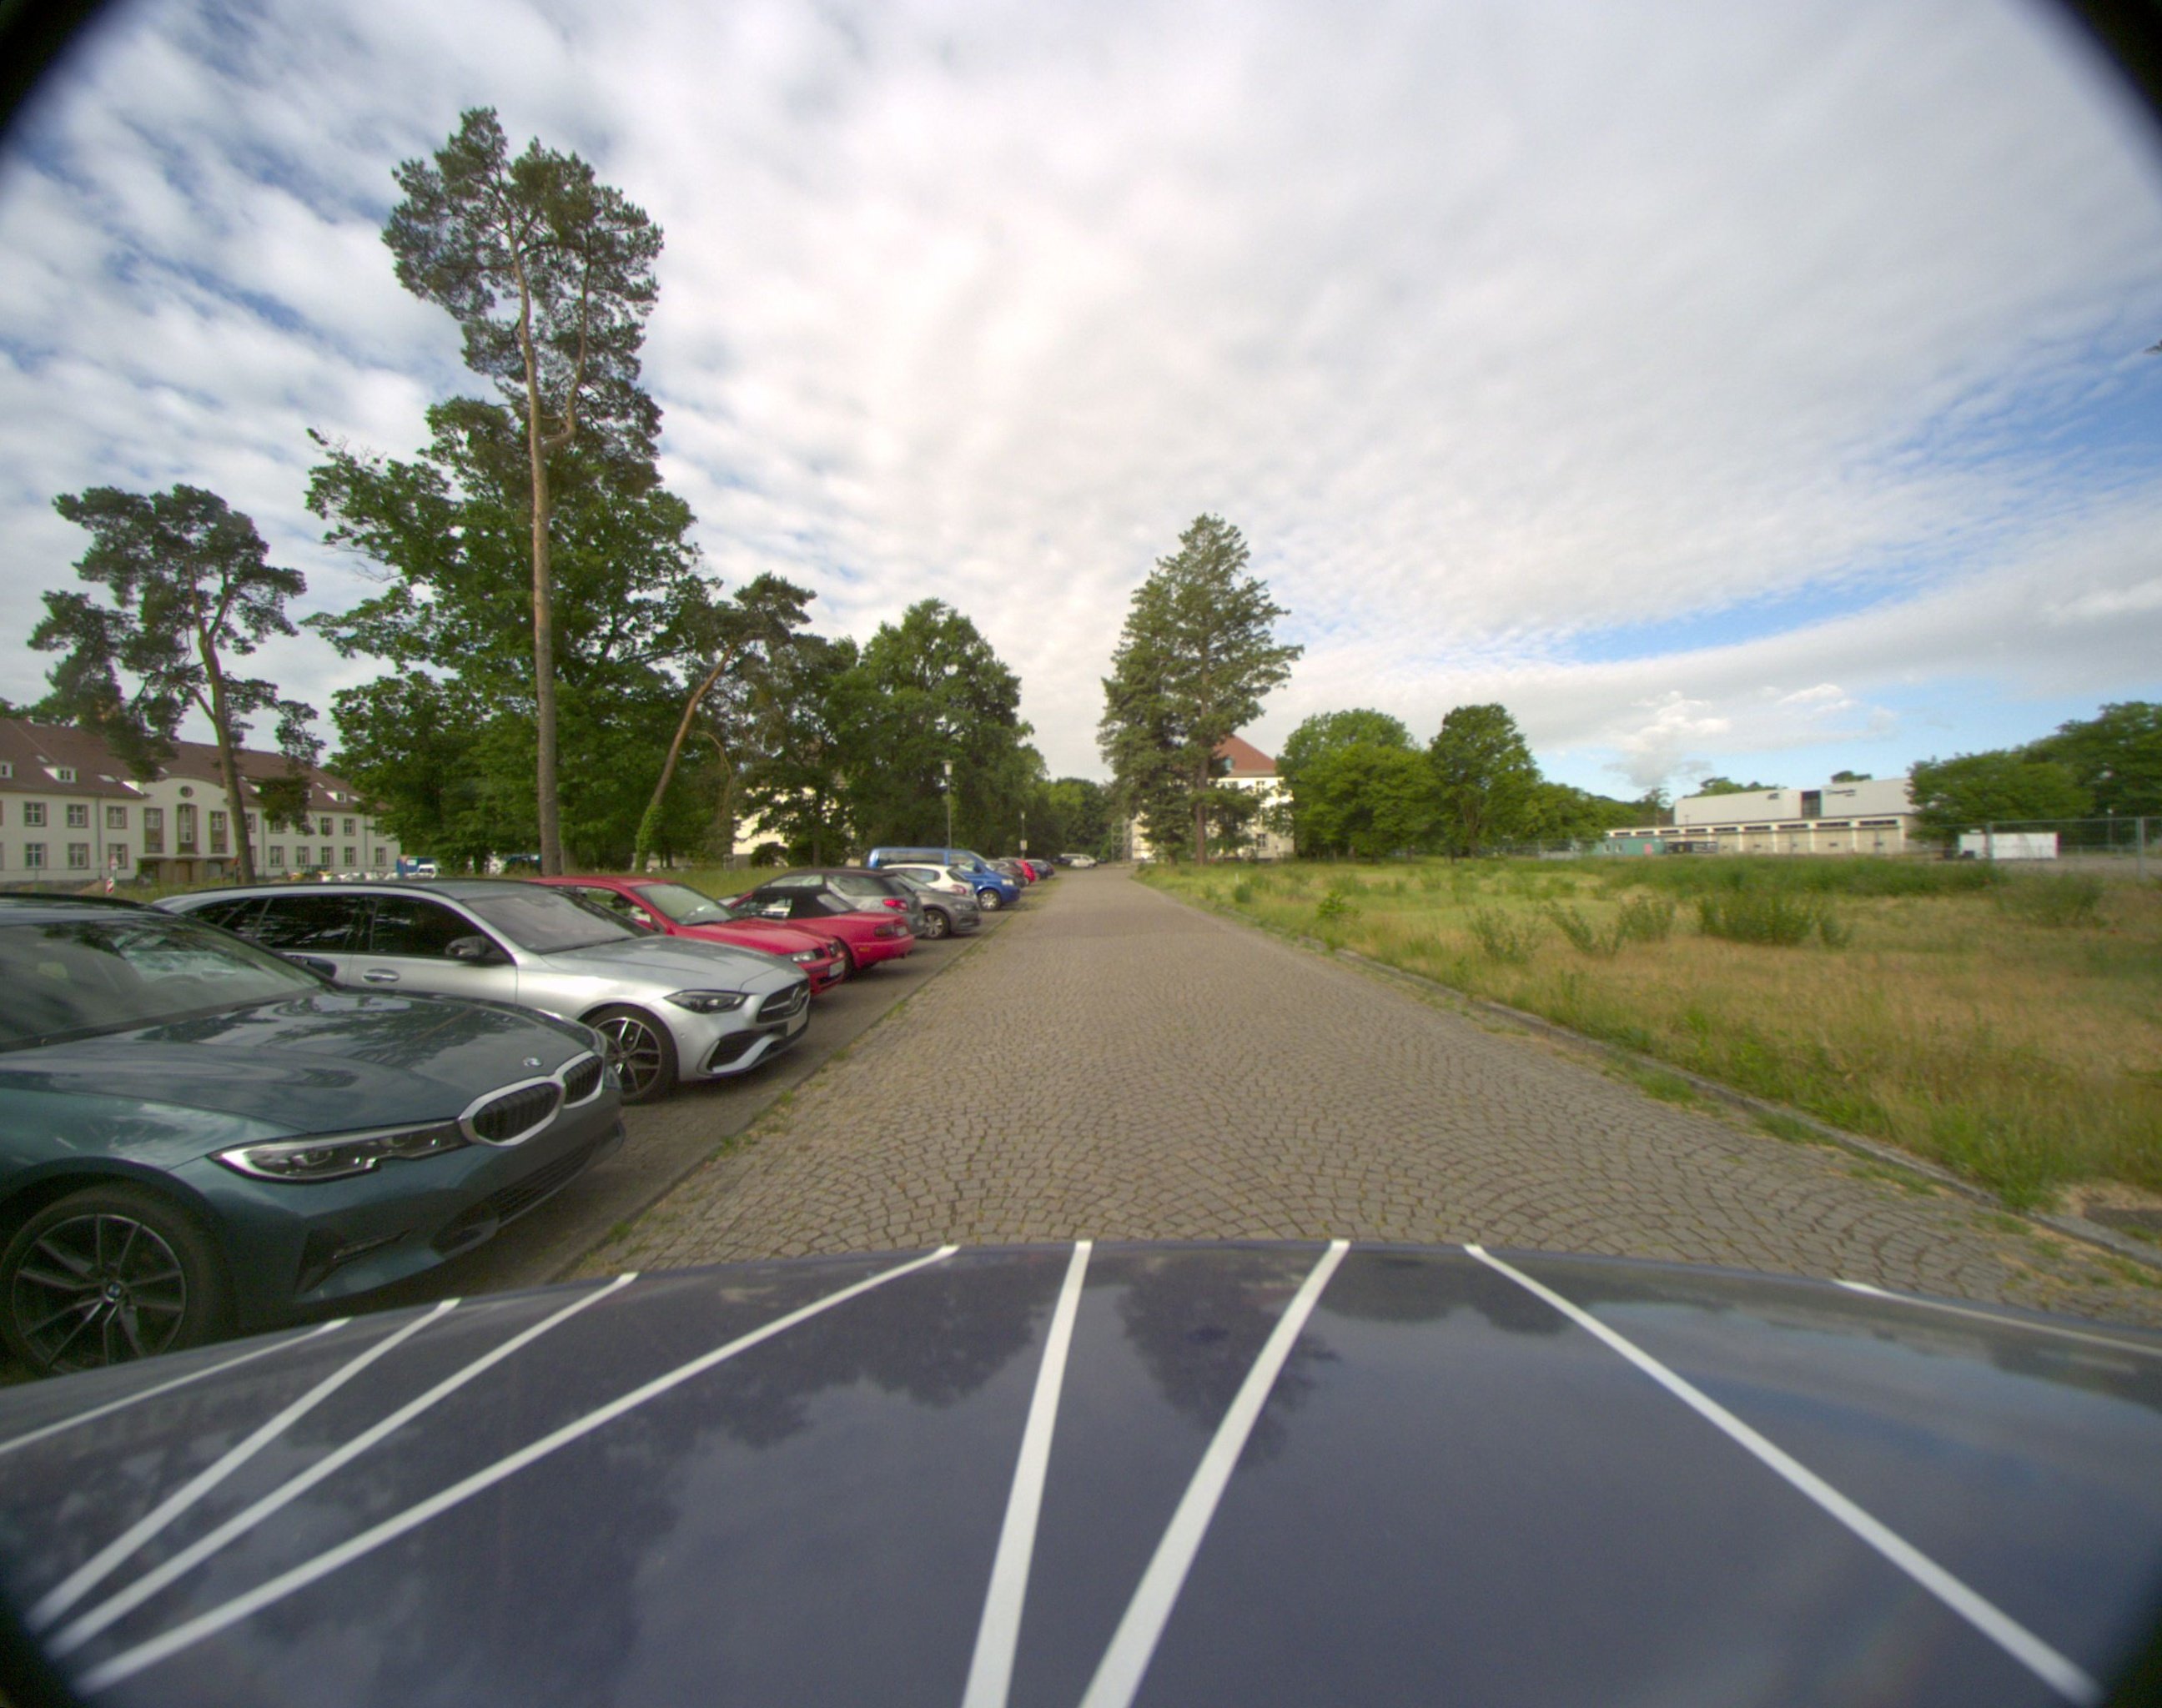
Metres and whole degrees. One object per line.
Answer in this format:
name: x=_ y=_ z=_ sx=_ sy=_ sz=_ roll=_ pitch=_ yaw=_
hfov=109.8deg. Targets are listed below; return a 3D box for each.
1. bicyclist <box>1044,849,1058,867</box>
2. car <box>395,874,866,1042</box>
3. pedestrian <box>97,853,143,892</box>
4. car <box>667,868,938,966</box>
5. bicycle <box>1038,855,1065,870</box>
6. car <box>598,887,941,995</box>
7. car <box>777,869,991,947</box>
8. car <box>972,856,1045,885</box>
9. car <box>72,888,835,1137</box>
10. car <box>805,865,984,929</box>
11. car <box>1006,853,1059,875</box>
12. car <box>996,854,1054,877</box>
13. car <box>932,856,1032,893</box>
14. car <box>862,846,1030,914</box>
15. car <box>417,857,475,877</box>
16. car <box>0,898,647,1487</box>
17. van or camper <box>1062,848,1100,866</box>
bicyclist: x=-3.121 y=0.408 z=79.373 sx=1.318 sy=1.857 sz=1.250 roll=-1 pitch=1 yaw=6
car: x=-4.531 y=1.019 z=8.062 sx=3.932 sy=1.504 sz=1.797 roll=-1 pitch=0 yaw=3
pedestrian: x=-54.346 y=1.015 z=42.966 sx=1.184 sy=2.165 sz=1.056 roll=-1 pitch=1 yaw=1
car: x=-4.601 y=1.026 z=12.987 sx=3.932 sy=1.467 sz=1.797 roll=-1 pitch=0 yaw=2
bicycle: x=-3.037 y=0.901 z=79.360 sx=2.673 sy=1.496 sz=1.273 roll=-1 pitch=0 yaw=6
car: x=-4.089 y=1.133 z=10.430 sx=3.932 sy=1.227 sz=1.797 roll=-1 pitch=0 yaw=2
car: x=-3.961 y=1.070 z=15.739 sx=3.932 sy=1.427 sz=1.797 roll=-1 pitch=0 yaw=1
car: x=-4.060 y=0.904 z=43.253 sx=3.998 sy=1.560 sz=1.999 roll=-1 pitch=0 yaw=-2
car: x=-4.283 y=1.043 z=5.666 sx=4.266 sy=1.437 sz=1.797 roll=-1 pitch=0 yaw=3
car: x=-4.511 y=1.023 z=18.783 sx=3.932 sy=1.441 sz=1.797 roll=-1 pitch=0 yaw=1
car: x=-3.668 y=0.754 z=58.041 sx=3.790 sy=1.615 sz=2.000 roll=-1 pitch=0 yaw=2
car: x=-3.909 y=0.786 z=53.563 sx=3.790 sy=1.560 sz=2.000 roll=-1 pitch=0 yaw=2
car: x=-4.238 y=0.885 z=32.959 sx=3.996 sy=1.495 sz=1.869 roll=-1 pitch=0 yaw=3
car: x=-4.171 y=0.802 z=24.024 sx=4.839 sy=2.002 sz=2.001 roll=-1 pitch=0 yaw=5
car: x=-67.587 y=1.364 z=81.001 sx=2.166 sy=2.002 sz=4.834 roll=-1 pitch=0 yaw=-1
car: x=-4.508 y=0.973 z=2.916 sx=4.630 sy=1.437 sz=1.797 roll=-1 pitch=0 yaw=1
van or camper: x=0.023 y=0.430 z=107.044 sx=5.248 sy=2.449 sz=2.209 roll=-1 pitch=1 yaw=-2
